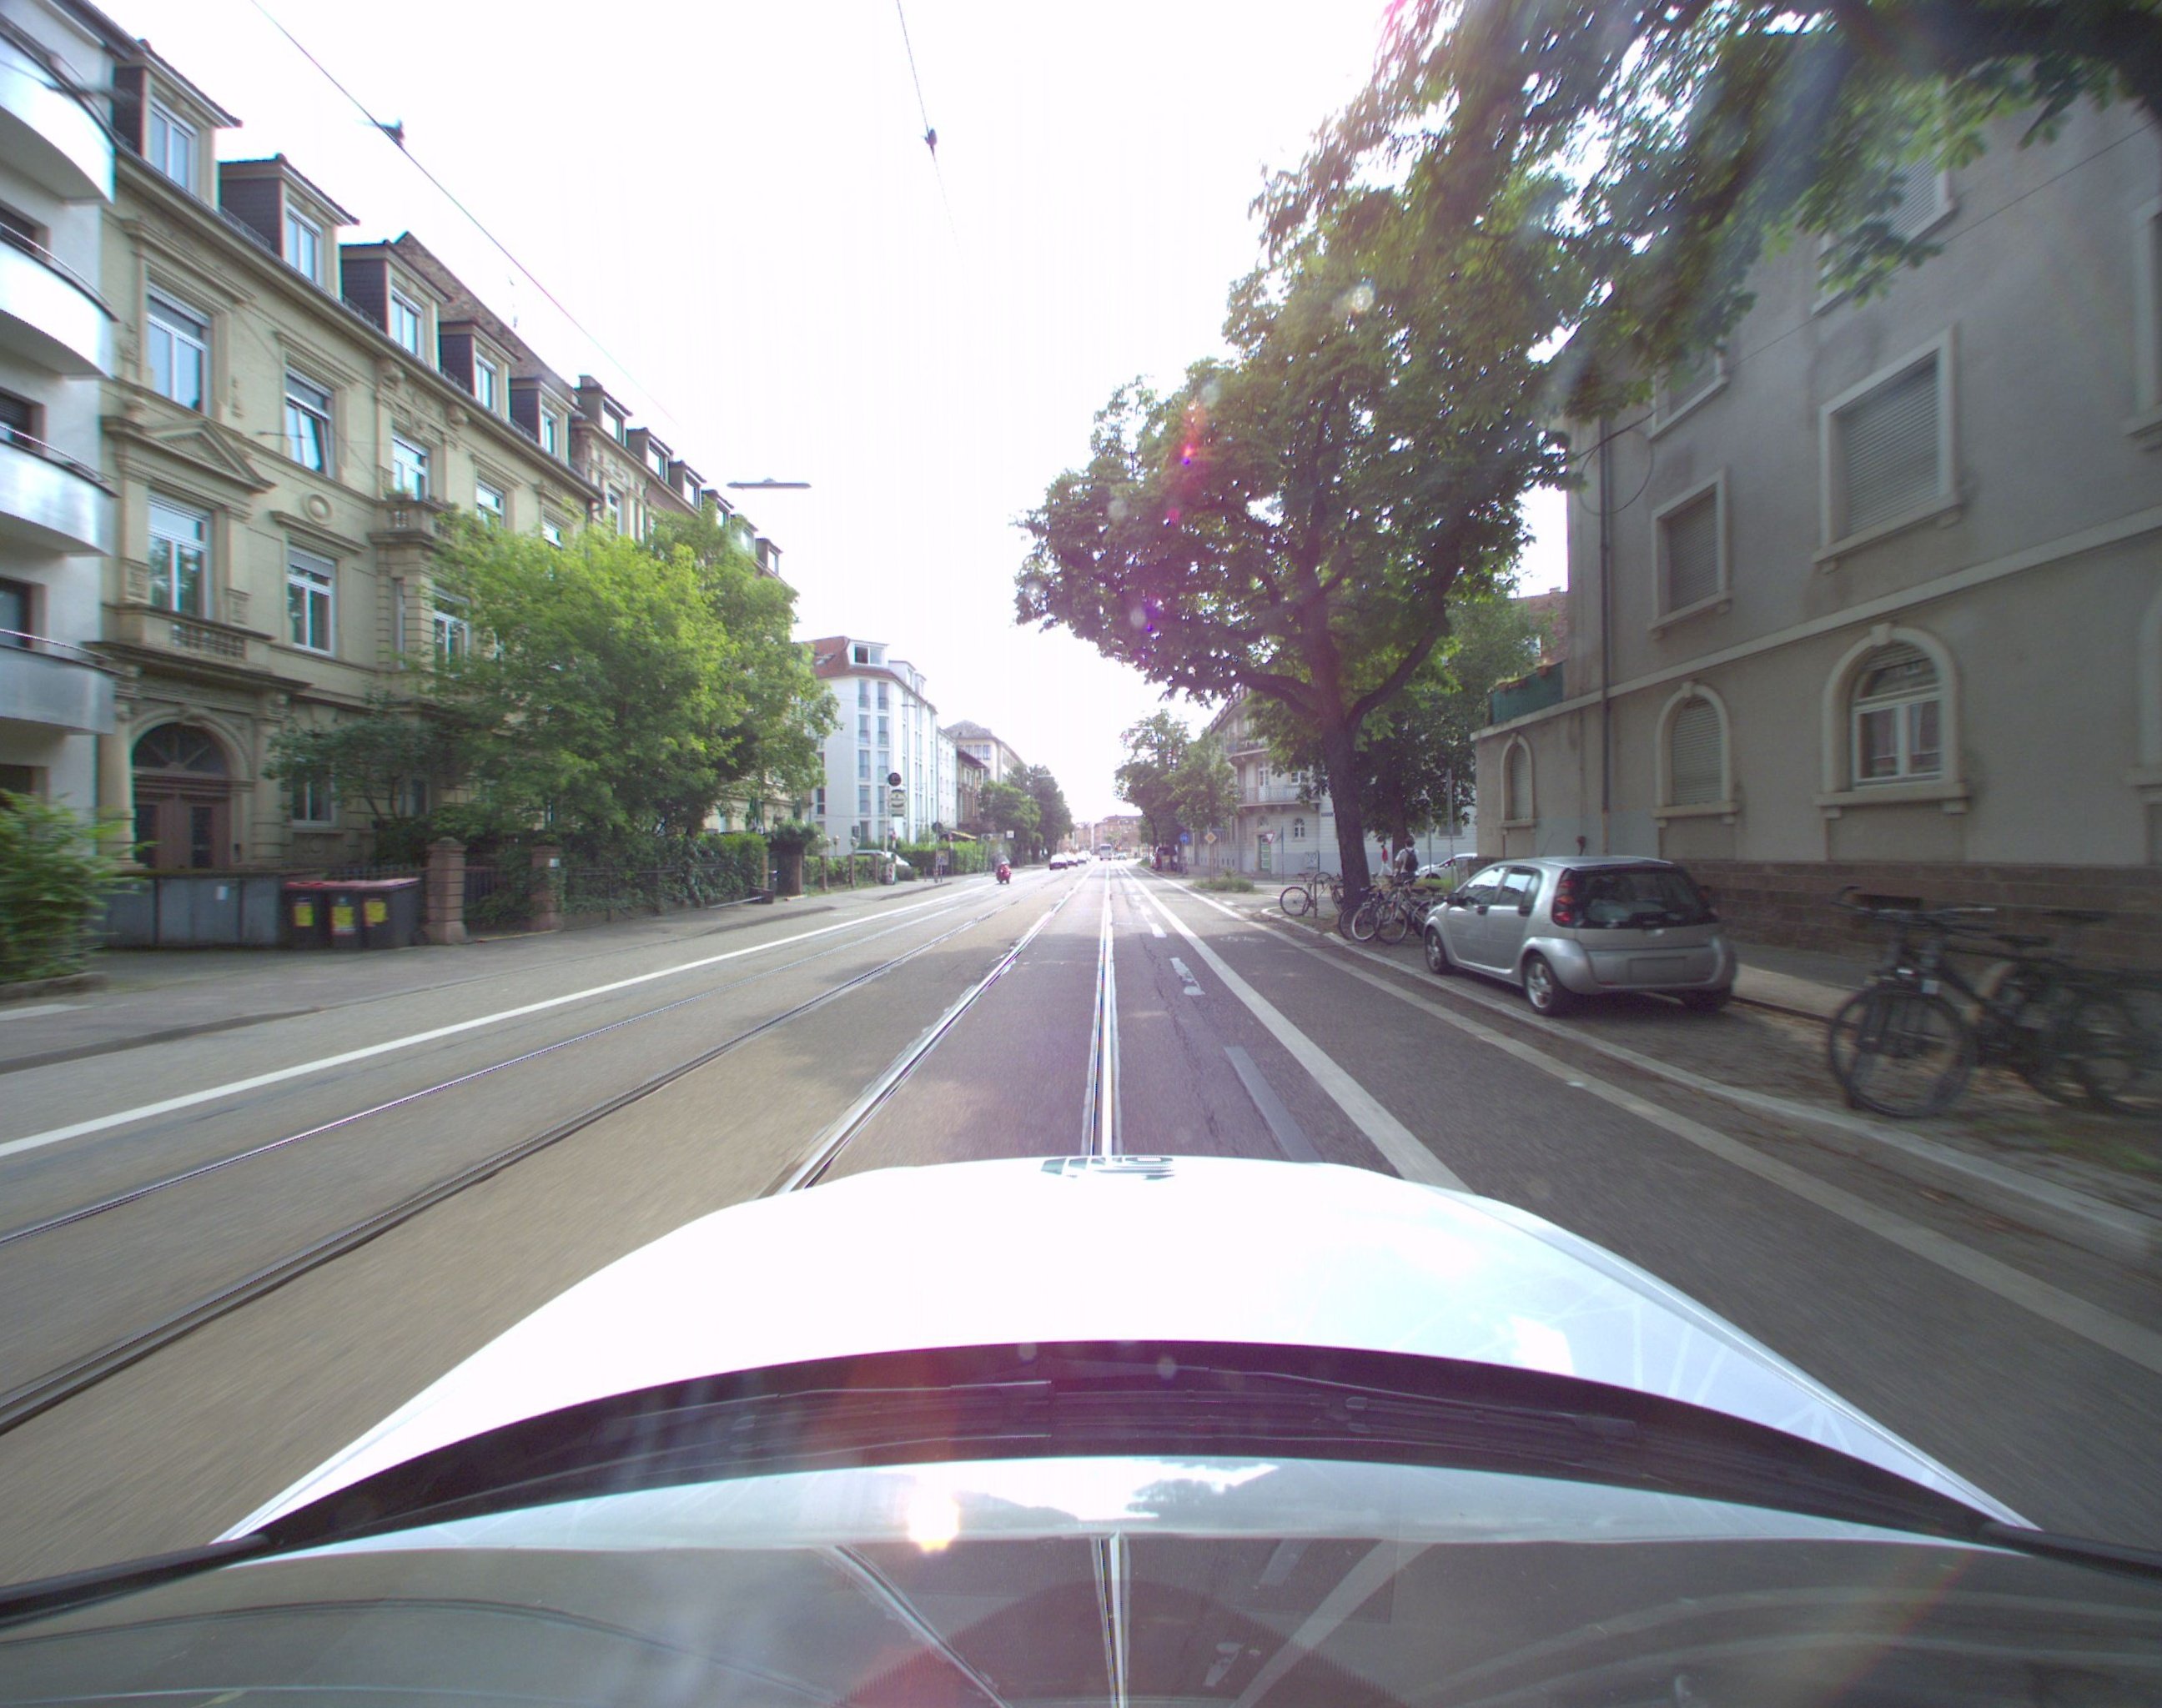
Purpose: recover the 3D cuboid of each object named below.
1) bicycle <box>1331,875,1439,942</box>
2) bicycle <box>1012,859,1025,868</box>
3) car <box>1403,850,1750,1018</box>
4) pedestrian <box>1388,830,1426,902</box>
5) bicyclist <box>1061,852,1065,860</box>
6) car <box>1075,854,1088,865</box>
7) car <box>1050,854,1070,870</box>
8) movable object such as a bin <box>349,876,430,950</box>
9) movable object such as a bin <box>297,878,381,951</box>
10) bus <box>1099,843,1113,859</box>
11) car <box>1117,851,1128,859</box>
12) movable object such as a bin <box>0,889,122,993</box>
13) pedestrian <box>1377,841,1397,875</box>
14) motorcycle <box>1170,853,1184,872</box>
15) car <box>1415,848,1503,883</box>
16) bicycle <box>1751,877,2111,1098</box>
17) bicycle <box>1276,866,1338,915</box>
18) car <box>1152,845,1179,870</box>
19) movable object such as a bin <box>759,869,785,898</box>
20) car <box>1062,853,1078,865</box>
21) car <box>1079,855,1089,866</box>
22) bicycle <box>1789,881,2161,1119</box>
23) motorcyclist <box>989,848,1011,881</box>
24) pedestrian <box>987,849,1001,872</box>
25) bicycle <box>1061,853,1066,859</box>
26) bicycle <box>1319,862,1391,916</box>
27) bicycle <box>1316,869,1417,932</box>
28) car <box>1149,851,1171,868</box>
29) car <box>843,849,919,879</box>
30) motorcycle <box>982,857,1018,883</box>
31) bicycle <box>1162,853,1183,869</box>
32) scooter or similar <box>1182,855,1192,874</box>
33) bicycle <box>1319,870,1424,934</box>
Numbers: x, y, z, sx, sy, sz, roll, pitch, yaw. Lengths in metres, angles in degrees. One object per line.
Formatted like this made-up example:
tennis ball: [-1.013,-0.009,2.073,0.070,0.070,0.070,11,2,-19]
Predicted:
bicycle: [5.014,0.905,13.474,1.639,1.070,0.349,-1,0,4]
bicycle: [-7.120,1.100,92.508,1.138,0.909,2.990,2,0,2]
car: [5.094,0.700,9.057,1.579,1.445,3.900,-1,0,2]
pedestrian: [8.556,0.312,21.421,0.615,1.834,1.031,-1,0,3]
bicyclist: [-3.287,0.382,150.054,0.596,1.492,0.883,-6,0,4]
car: [0.060,0.825,117.413,1.721,1.540,4.277,-2,0,1]
car: [-2.054,0.798,79.829,1.587,1.440,3.940,-2,0,4]
movable object such as a bin: [-11.047,0.928,13.032,0.665,1.107,0.733,-1,0,-2]
movable object such as a bin: [-11.929,0.950,13.106,0.665,1.107,0.733,-1,0,-2]
bus: [5.333,-0.575,175.175,2.907,3.328,12.209,0,-1,1]
car: [8.866,0.172,173.955,2.123,1.684,4.102,0,1,0]
movable object such as a bin: [-11.866,0.981,9.373,0.770,1.107,0.734,-1,0,1]
pedestrian: [17.532,0.241,46.657,0.965,1.937,0.907,0,-1,28]
motorcycle: [7.100,0.620,60.211,0.854,1.321,2.447,-1,0,3]
car: [17.540,0.547,37.821,3.574,1.498,1.742,-1,2,28]
bicycle: [5.033,0.763,4.900,1.479,1.220,0.519,-1,-1,8]
bicycle: [5.140,0.821,18.567,1.263,1.066,0.478,-1,0,1]
car: [6.986,0.297,67.776,1.888,1.941,4.952,-1,0,2]
movable object such as a bin: [-10.223,0.983,26.940,0.576,0.925,0.641,-1,0,2]
car: [-1.236,0.575,95.572,1.622,1.407,4.131,-1,0,2]
car: [0.572,1.209,153.741,1.891,1.907,5.384,-1,0,1]
bicycle: [4.787,0.736,4.339,1.479,1.153,0.519,-1,0,8]
motorcyclist: [-4.264,0.549,42.973,0.910,1.714,0.746,-1,-1,45]
pedestrian: [-7.480,0.576,69.794,1.055,1.917,0.830,-1,0,3]
bicycle: [-3.283,0.399,150.063,0.600,1.097,2.025,-6,0,5]
bicycle: [6.182,0.765,18.486,0.586,1.158,1.826,-1,0,-17]
bicycle: [4.995,0.819,14.290,1.639,1.070,0.349,-1,0,5]
car: [7.332,0.538,76.131,1.700,1.498,4.791,-1,0,2]
car: [-14.187,0.691,57.711,4.886,2.013,2.061,-1,0,24]
motorcycle: [-4.299,0.830,43.014,2.062,1.360,0.746,-1,0,45]
bicycle: [7.203,0.546,64.079,1.605,1.203,0.589,-1,0,-2]
scooter or similar: [7.204,0.691,55.534,0.530,1.251,1.721,-2,0,3]
bicycle: [4.952,0.815,13.916,1.639,1.070,0.349,-1,0,5]
